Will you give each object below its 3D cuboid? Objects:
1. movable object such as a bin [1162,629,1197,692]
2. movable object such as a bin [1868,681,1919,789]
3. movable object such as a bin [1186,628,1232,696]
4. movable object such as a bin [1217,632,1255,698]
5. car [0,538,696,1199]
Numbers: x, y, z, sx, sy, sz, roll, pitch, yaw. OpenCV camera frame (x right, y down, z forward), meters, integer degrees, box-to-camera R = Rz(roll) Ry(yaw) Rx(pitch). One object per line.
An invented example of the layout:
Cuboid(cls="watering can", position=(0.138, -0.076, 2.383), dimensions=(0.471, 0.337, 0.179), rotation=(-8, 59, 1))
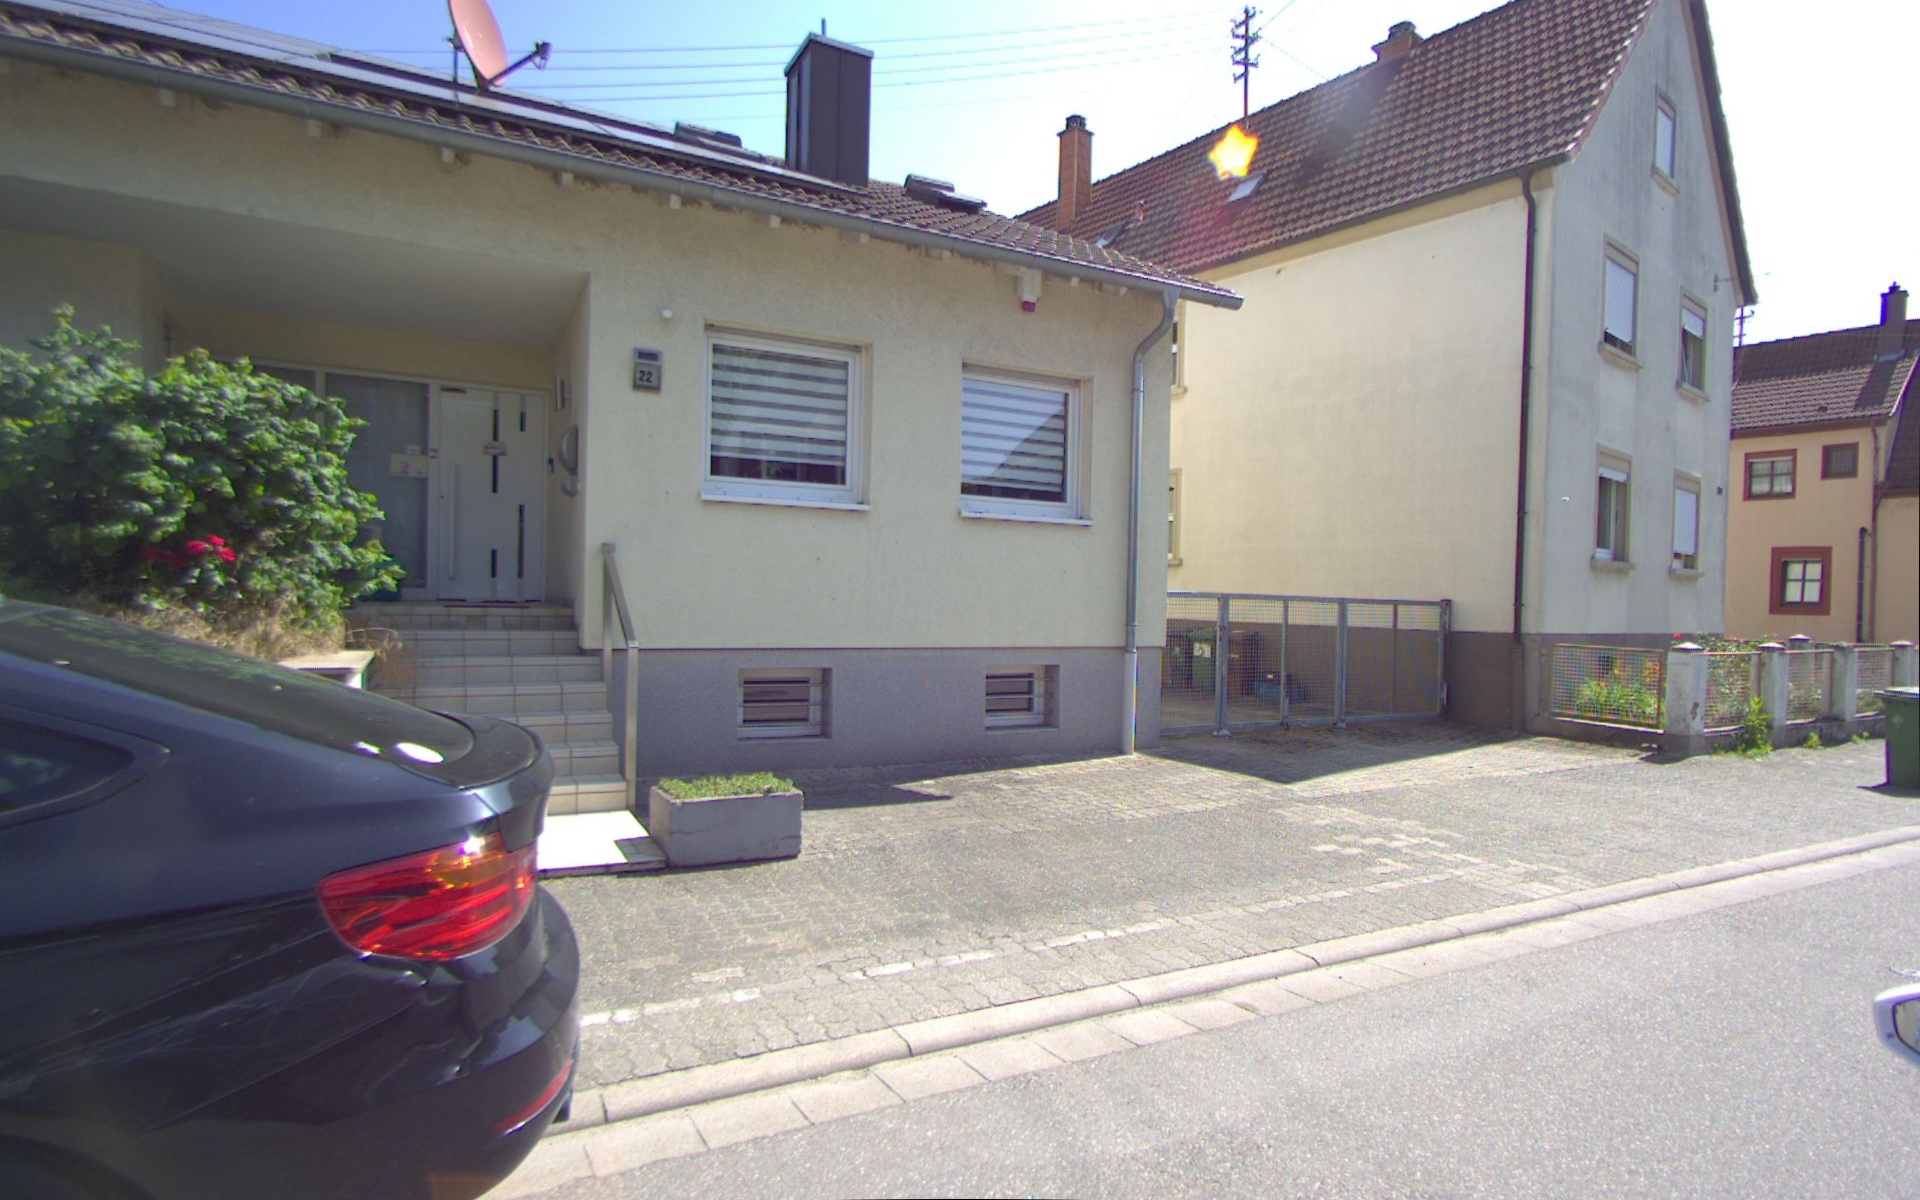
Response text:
Cuboid(cls="movable object such as a bin", position=(3.379, 0.929, 15.455), dimensions=(0.369, 0.933, 0.348), rotation=(1, 2, -34))
Cuboid(cls="movable object such as a bin", position=(9.179, 1.285, 9.621), dimensions=(0.547, 0.962, 0.536), rotation=(1, 2, -30))
Cuboid(cls="movable object such as a bin", position=(3.723, 0.914, 15.037), dimensions=(0.433, 0.965, 0.465), rotation=(1, 2, -37))
Cuboid(cls="movable object such as a bin", position=(4.038, 0.946, 14.680), dimensions=(0.369, 0.928, 0.348), rotation=(1, 2, -34))
Cuboid(cls="car", position=(-3.006, 0.635, 1.556), dimensions=(4.708, 1.547, 1.836), rotation=(2, 0, -30))
